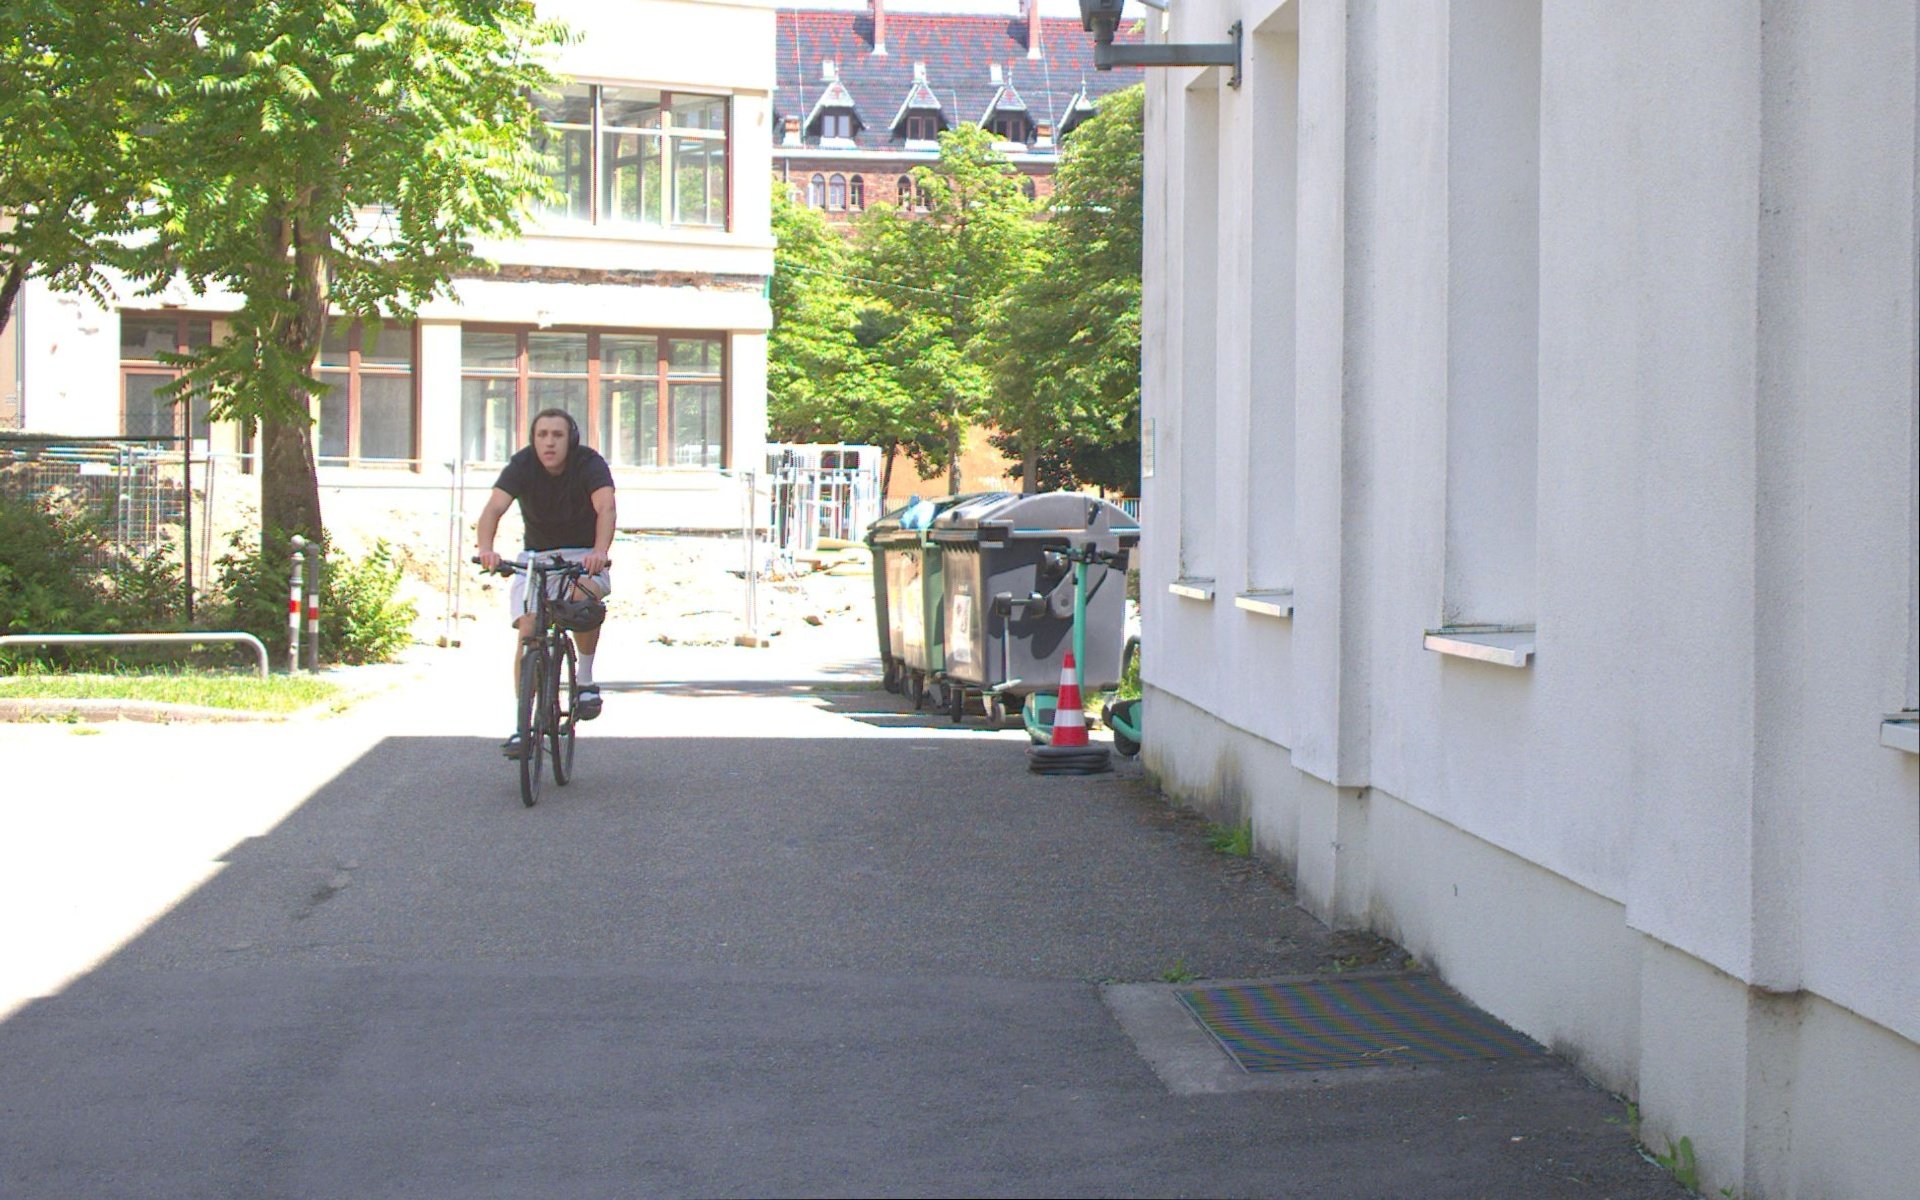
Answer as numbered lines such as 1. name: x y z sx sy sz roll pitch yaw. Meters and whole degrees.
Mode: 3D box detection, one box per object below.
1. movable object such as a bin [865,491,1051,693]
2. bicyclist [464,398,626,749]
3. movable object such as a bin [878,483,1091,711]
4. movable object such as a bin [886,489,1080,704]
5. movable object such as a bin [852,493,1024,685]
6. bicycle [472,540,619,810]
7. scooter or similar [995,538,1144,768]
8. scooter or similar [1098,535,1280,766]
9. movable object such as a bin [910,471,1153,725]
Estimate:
1. movable object such as a bin: -0.030 -0.064 25.715 1.178 1.465 1.312 1 0 -9
2. bicyclist: -1.969 -0.132 16.271 0.722 1.603 0.978 1 2 -8
3. movable object such as a bin: 0.144 -0.023 22.895 1.178 1.465 1.312 1 0 -10
4. movable object such as a bin: 0.147 -0.027 24.283 1.178 1.465 1.312 1 0 -8
5. movable object such as a bin: -0.157 -0.093 27.250 1.179 1.465 1.332 1 0 7
6. bicycle: -1.981 0.321 16.302 0.643 1.170 1.905 0 2 -8
7. scooter or similar: 0.569 0.259 18.263 0.463 1.170 1.357 0 1 -12
8. scooter or similar: 1.196 0.244 18.160 0.463 1.170 1.256 0 1 -21
9. movable object such as a bin: 0.417 -0.016 21.160 1.154 1.500 1.463 1 1 -13
